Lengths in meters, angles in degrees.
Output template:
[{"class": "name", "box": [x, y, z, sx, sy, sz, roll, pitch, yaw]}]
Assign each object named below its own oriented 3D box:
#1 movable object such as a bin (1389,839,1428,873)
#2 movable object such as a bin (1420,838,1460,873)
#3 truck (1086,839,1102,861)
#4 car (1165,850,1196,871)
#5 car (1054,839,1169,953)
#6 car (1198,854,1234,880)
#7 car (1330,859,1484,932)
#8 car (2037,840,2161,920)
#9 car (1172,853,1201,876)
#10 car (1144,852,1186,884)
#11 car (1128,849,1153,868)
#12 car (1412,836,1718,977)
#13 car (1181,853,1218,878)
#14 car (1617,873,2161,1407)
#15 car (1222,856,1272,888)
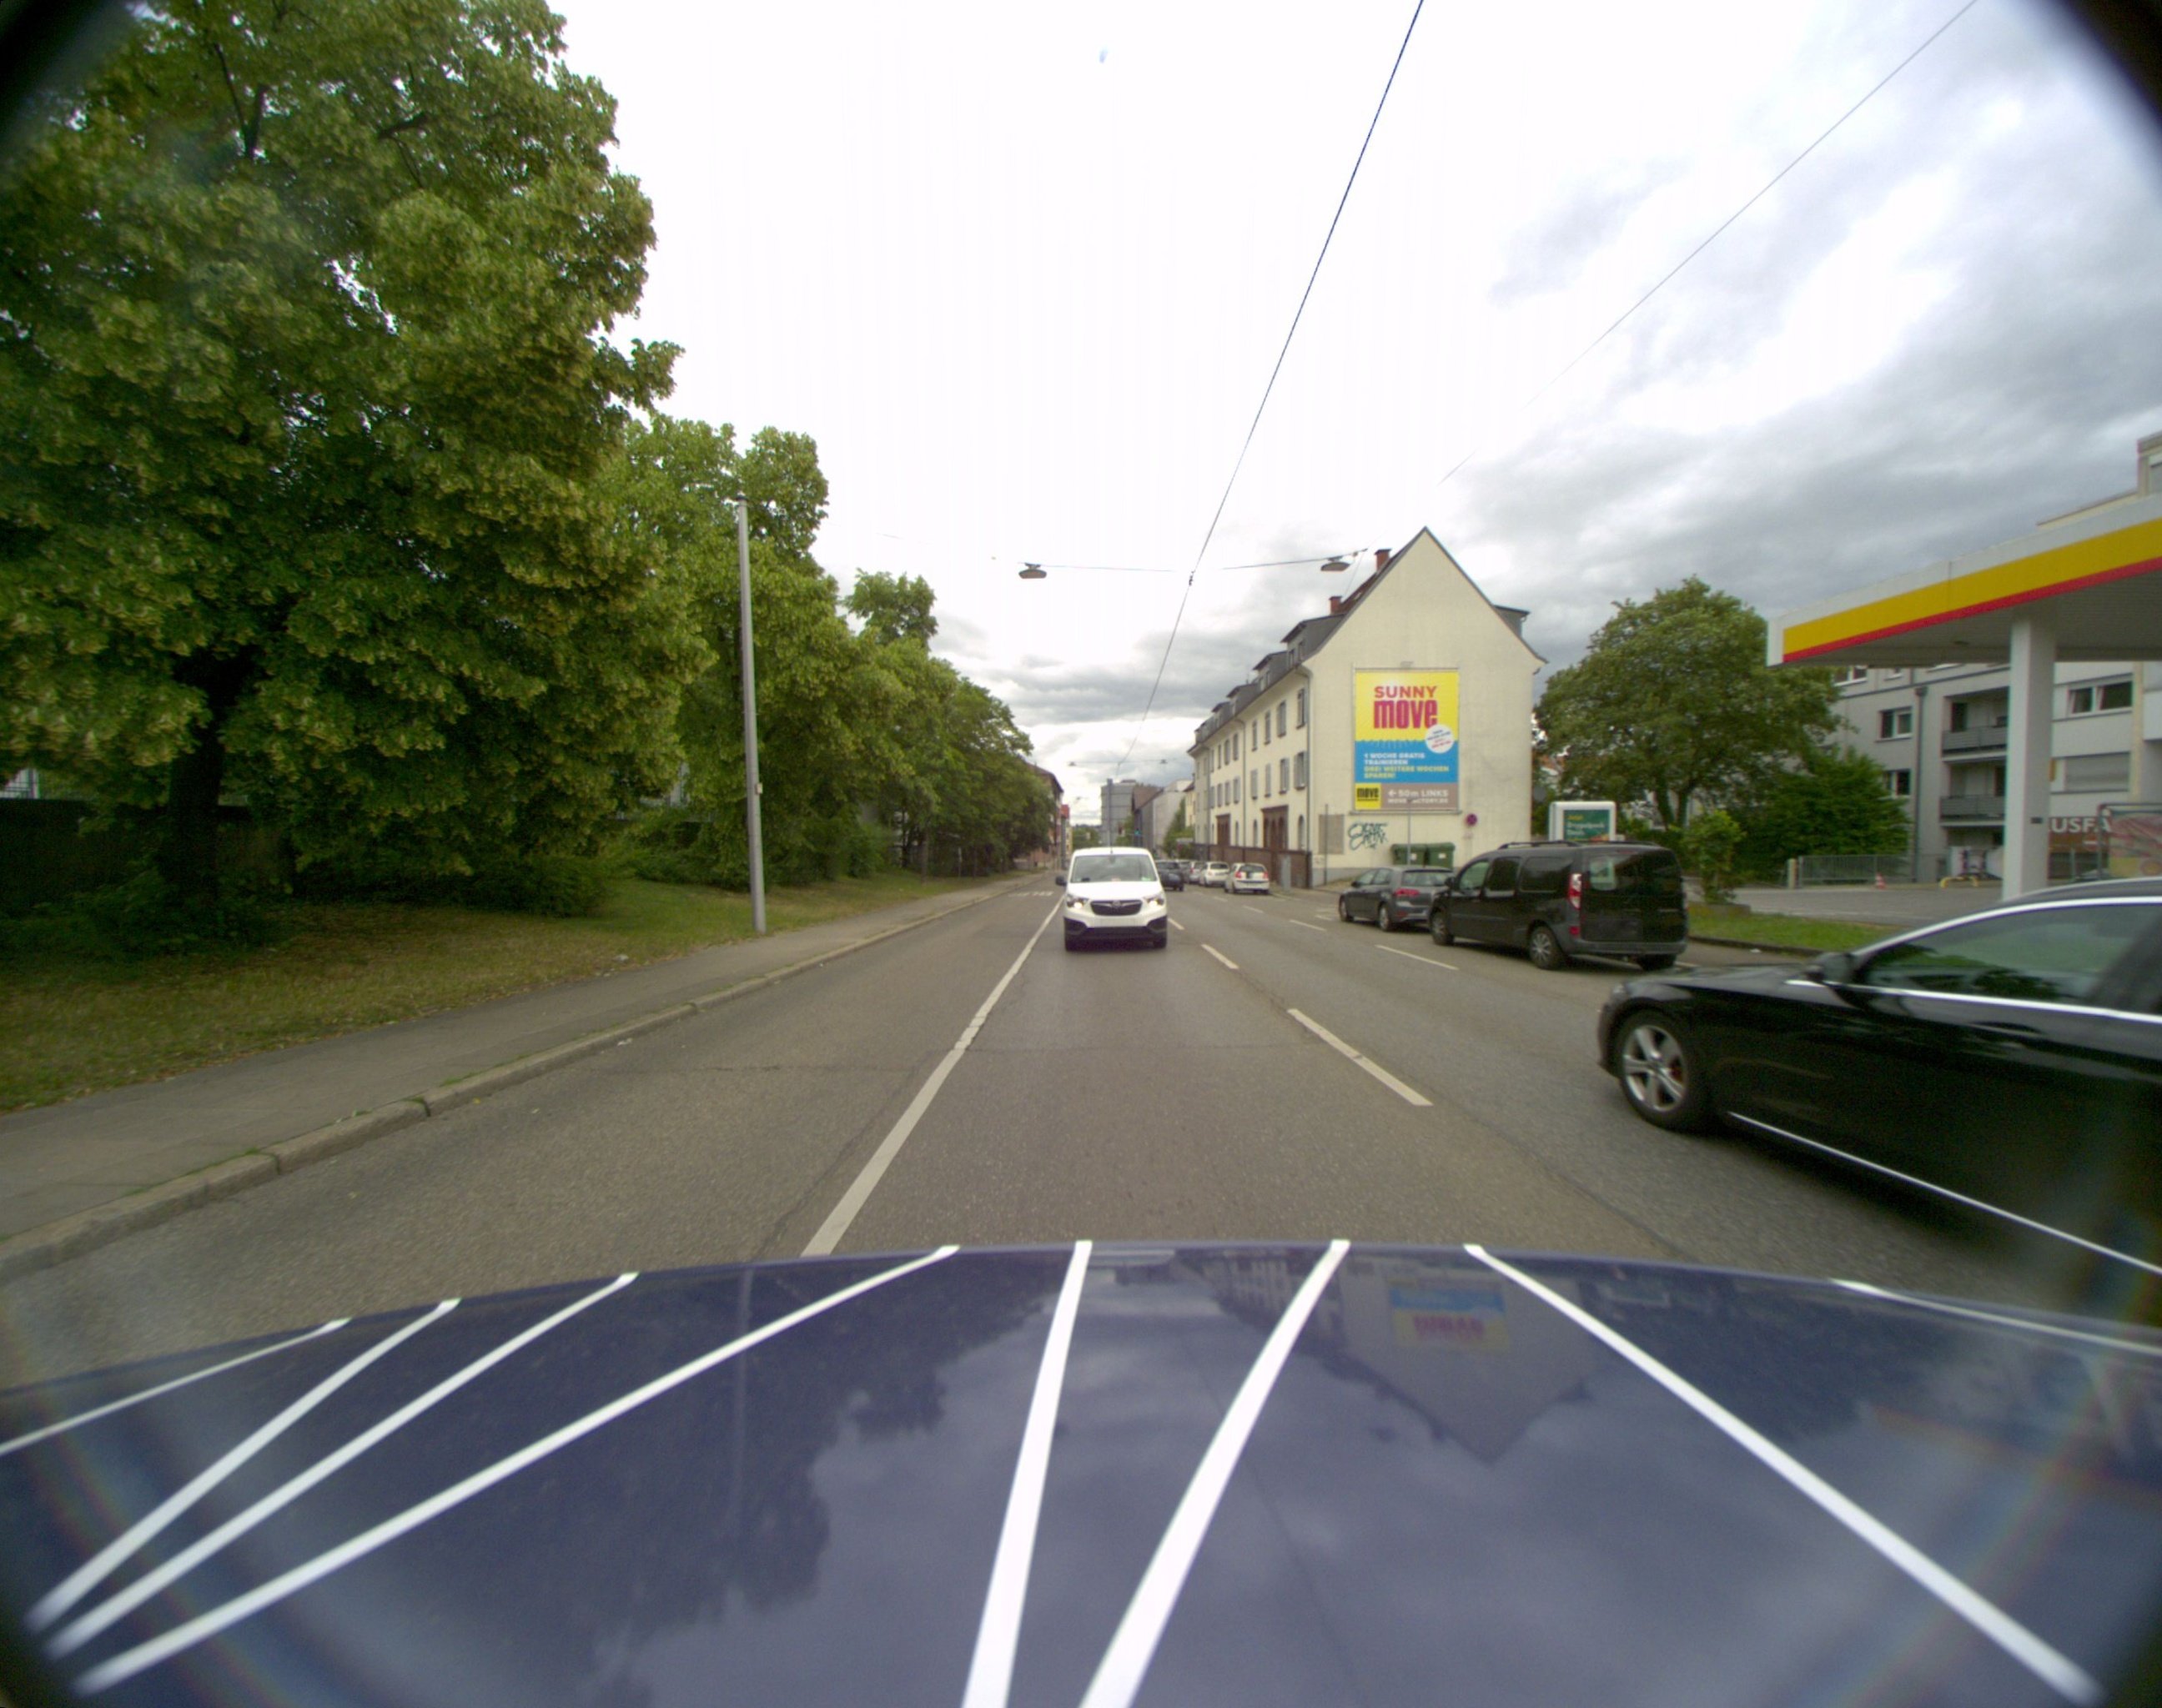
[{"class": "movable object such as a bin", "box": [15.014, 0.097, 34.851, 1.268, 1.529, 1.104, 1, 0, 1]}, {"class": "movable object such as a bin", "box": [16.432, 0.075, 34.795, 1.268, 1.529, 1.104, 1, 0, 1]}, {"class": "truck", "box": [2.161, -0.573, 127.410, 2.545, 3.478, 8.522, 0, 0, 1]}, {"class": "car", "box": [7.918, 0.545, 60.838, 1.850, 1.611, 4.643, 0, 0, 0]}, {"class": "car", "box": [0.536, 0.743, 14.526, 1.850, 1.831, 4.285, -1, -1, 1]}, {"class": "car", "box": [7.994, 0.754, 45.151, 1.551, 1.466, 3.604, 0, 0, 1]}, {"class": "car", "box": [7.387, 0.872, 17.712, 1.795, 1.441, 4.218, 1, 0, 1]}, {"class": "car", "box": [20.084, 0.455, 13.043, 1.802, 1.412, 4.417, -1, 0, 1]}, {"class": "car", "box": [7.647, 0.732, 55.488, 1.731, 1.589, 4.503, 0, 0, 3]}, {"class": "car", "box": [4.261, 0.704, 39.017, 1.687, 1.546, 3.719, 1, 0, 0]}, {"class": "car", "box": [5.039, 0.393, 64.635, 1.802, 1.516, 4.000, 1, 0, 1]}, {"class": "car", "box": [7.324, 0.688, 12.238, 1.856, 1.824, 4.701, 1, 0, -1]}, {"class": "car", "box": [7.795, 0.718, 50.284, 1.731, 1.549, 4.081, 2, 0, 0]}, {"class": "car", "box": [3.964, 0.848, 2.148, 1.782, 1.457, 4.499, 0, 0, 1]}, {"class": "car", "box": [7.802, 0.813, 35.987, 1.623, 1.417, 3.665, 0, 0, 1]}]
